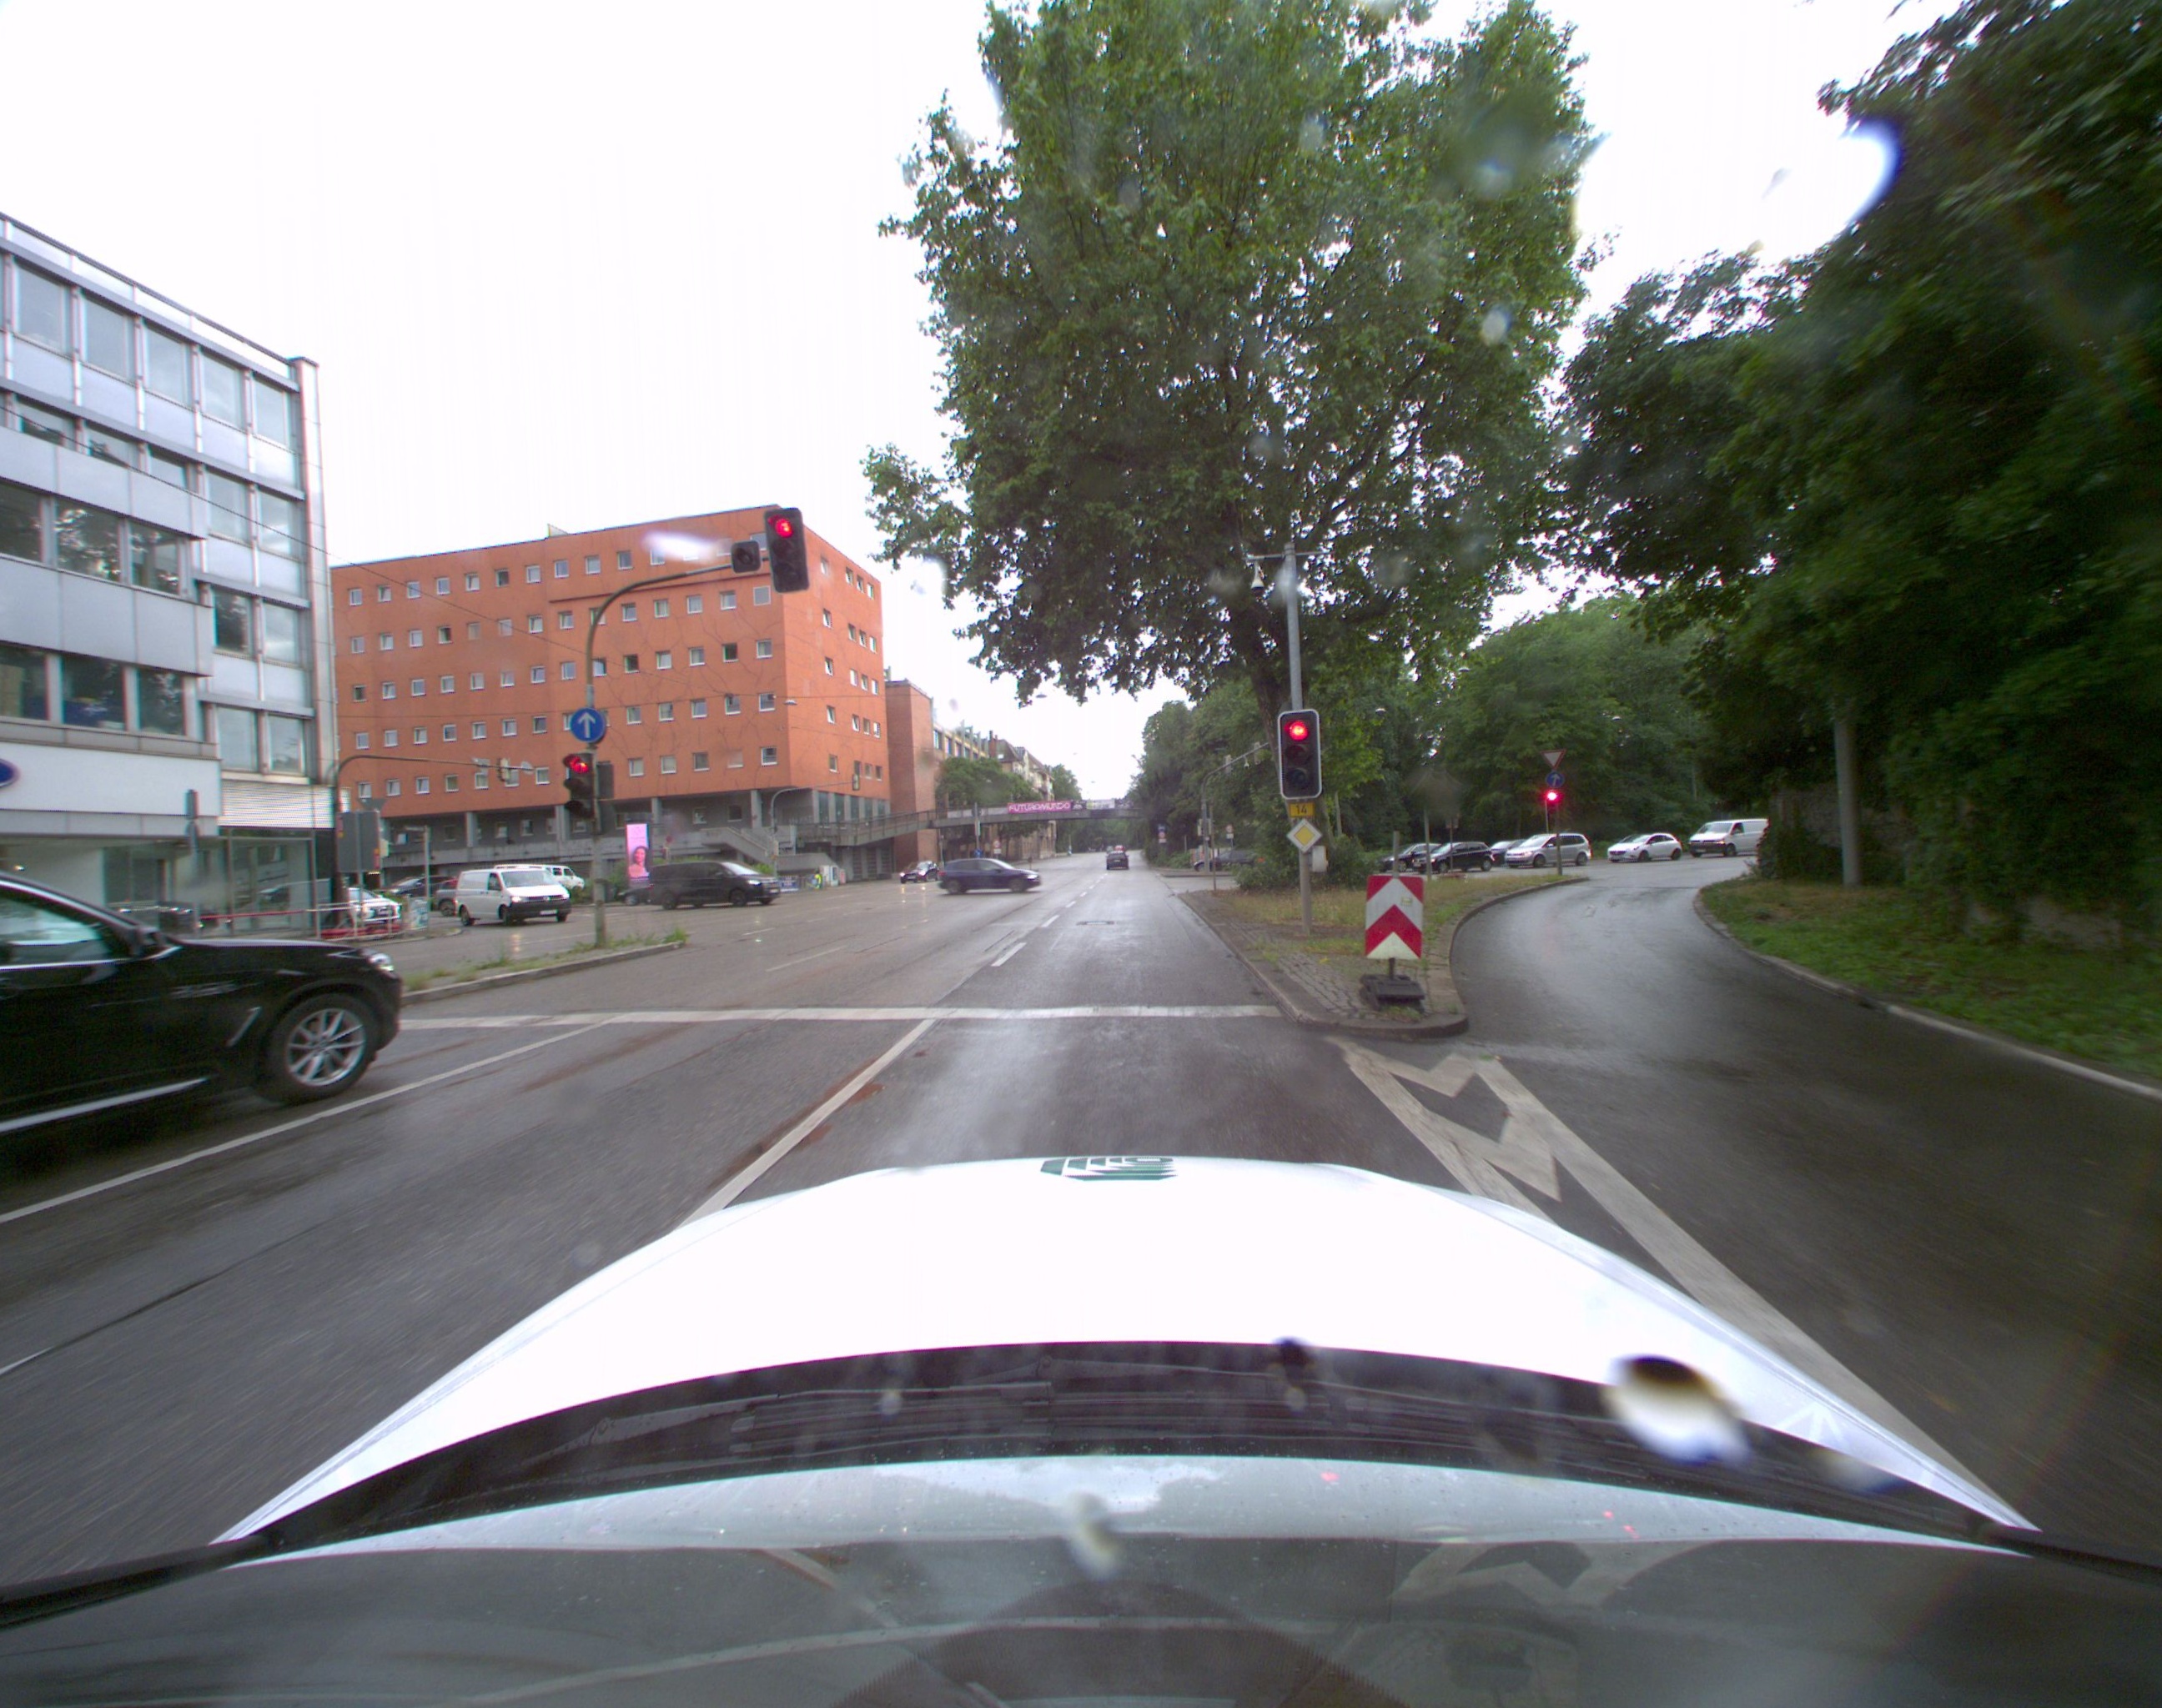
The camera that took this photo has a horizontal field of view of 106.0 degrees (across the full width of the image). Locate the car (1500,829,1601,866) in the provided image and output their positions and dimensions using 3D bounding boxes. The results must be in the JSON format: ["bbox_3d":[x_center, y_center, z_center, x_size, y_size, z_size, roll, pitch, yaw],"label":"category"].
[{"bbox_3d":[23.288,-0.305,40.415,4.267,1.486,1.765,-4,0,-15],"label":"car"}]

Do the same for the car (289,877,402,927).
[{"bbox_3d":[-28.901,1.899,31.950,4.762,1.637,2.013,-4,0,32],"label":"car"}]

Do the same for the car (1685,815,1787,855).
[{"bbox_3d":[35.411,-1.026,44.053,4.857,1.922,1.897,-2,0,-18],"label":"car"}]

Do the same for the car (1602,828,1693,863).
[{"bbox_3d":[29.498,-0.433,42.423,3.998,1.486,1.763,-4,0,-18],"label":"car"}]

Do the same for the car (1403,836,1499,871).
[{"bbox_3d":[17.459,-0.019,38.479,3.858,1.485,1.665,-2,-1,-13],"label":"car"}]

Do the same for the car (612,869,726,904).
[{"bbox_3d":[-20.184,1.573,40.080,4.596,1.451,1.771,-3,0,-5],"label":"car"}]

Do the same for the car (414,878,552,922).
[{"bbox_3d":[-25.685,1.972,35.078,4.492,1.637,1.882,-2,0,2],"label":"car"}]

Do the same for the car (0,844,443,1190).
[{"bbox_3d":[-6.010,0.780,3.926,1.939,1.597,4.675,-1,1,4],"label":"car"}]

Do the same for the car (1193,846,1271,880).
[{"bbox_3d":[9.558,0.567,51.579,4.298,1.836,2.148,-4,0,26],"label":"car"}]

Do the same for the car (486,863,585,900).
[{"bbox_3d":[-32.199,1.565,48.259,1.981,2.013,4.866,1,0,11],"label":"car"}]

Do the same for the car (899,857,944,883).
[{"bbox_3d":[-10.525,1.033,54.109,1.985,1.519,4.003,-3,0,3],"label":"car"}]

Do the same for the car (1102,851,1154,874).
[{"bbox_3d":[3.587,0.638,63.235,1.886,1.637,4.482,-2,0,-30],"label":"car"}]

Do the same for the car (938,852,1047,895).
[{"bbox_3d":[-3.651,0.819,33.919,4.108,1.446,1.590,-4,0,11],"label":"car"}]

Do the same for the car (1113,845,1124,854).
[{"bbox_3d":[7.980,-0.985,172.025,2.114,1.734,4.198,-1,1,0],"label":"car"}]

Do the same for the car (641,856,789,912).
[{"bbox_3d":[-14.380,1.174,32.072,5.040,1.846,2.007,-4,-1,13],"label":"car"}]

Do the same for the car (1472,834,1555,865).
[{"bbox_3d":[23.121,-0.262,43.594,3.833,1.486,1.735,-2,0,-18],"label":"car"}]

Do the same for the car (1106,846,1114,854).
[{"bbox_3d":[6.750,-0.940,189.474,1.756,1.697,3.707,-4,0,2],"label":"car"}]

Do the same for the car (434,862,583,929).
[{"bbox_3d":[-19.870,1.455,28.228,5.146,1.932,2.012,-4,0,28],"label":"car"}]

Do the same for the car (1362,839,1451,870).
[{"bbox_3d":[16.881,0.024,42.256,3.997,1.486,1.867,-2,0,-18],"label":"car"}]
